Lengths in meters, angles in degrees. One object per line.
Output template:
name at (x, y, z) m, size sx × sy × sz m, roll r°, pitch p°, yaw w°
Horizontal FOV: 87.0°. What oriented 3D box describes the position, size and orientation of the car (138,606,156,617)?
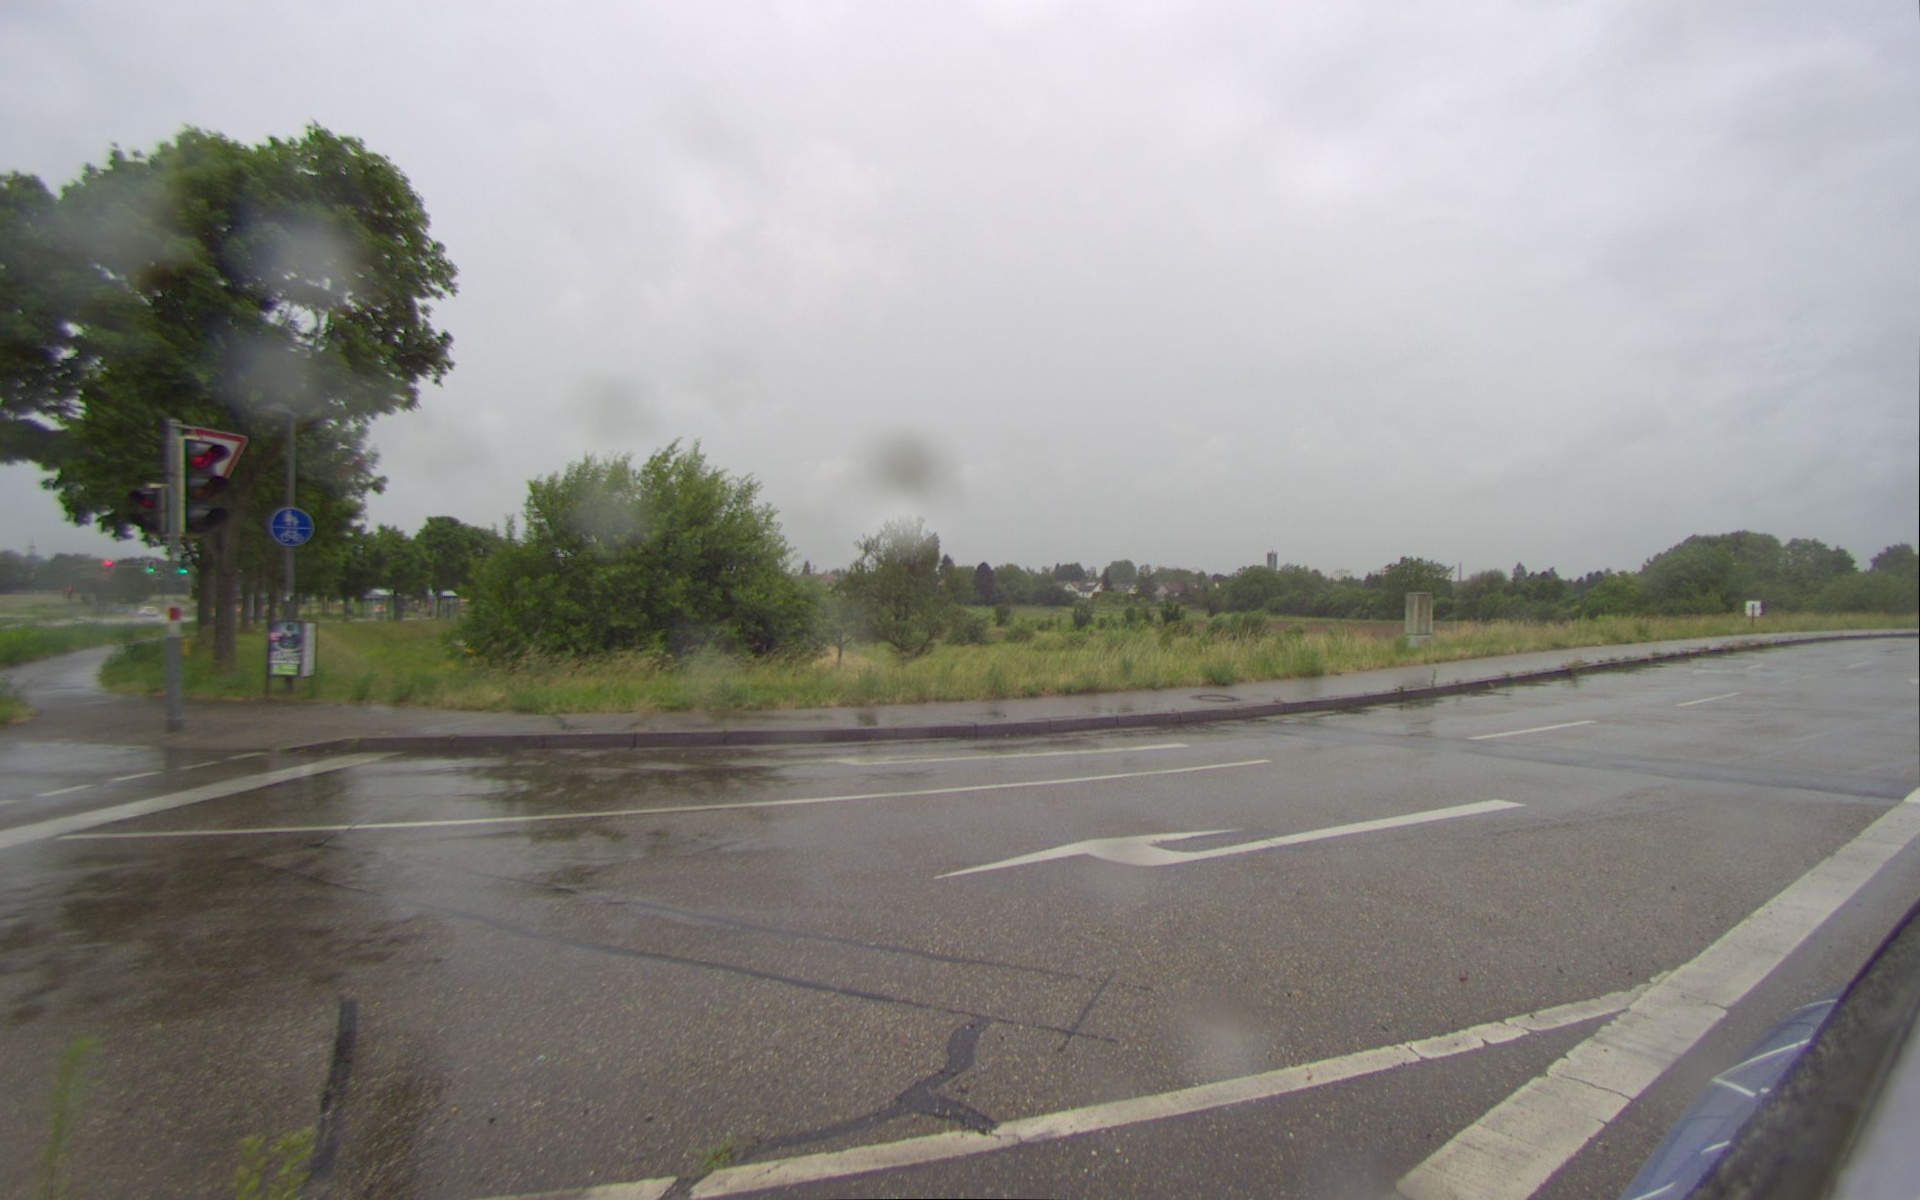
car at (-111.355, 1.588, 138.626) m, size 1.845 × 1.371 × 4.050 m, roll 0°, pitch 1°, yaw -37°
